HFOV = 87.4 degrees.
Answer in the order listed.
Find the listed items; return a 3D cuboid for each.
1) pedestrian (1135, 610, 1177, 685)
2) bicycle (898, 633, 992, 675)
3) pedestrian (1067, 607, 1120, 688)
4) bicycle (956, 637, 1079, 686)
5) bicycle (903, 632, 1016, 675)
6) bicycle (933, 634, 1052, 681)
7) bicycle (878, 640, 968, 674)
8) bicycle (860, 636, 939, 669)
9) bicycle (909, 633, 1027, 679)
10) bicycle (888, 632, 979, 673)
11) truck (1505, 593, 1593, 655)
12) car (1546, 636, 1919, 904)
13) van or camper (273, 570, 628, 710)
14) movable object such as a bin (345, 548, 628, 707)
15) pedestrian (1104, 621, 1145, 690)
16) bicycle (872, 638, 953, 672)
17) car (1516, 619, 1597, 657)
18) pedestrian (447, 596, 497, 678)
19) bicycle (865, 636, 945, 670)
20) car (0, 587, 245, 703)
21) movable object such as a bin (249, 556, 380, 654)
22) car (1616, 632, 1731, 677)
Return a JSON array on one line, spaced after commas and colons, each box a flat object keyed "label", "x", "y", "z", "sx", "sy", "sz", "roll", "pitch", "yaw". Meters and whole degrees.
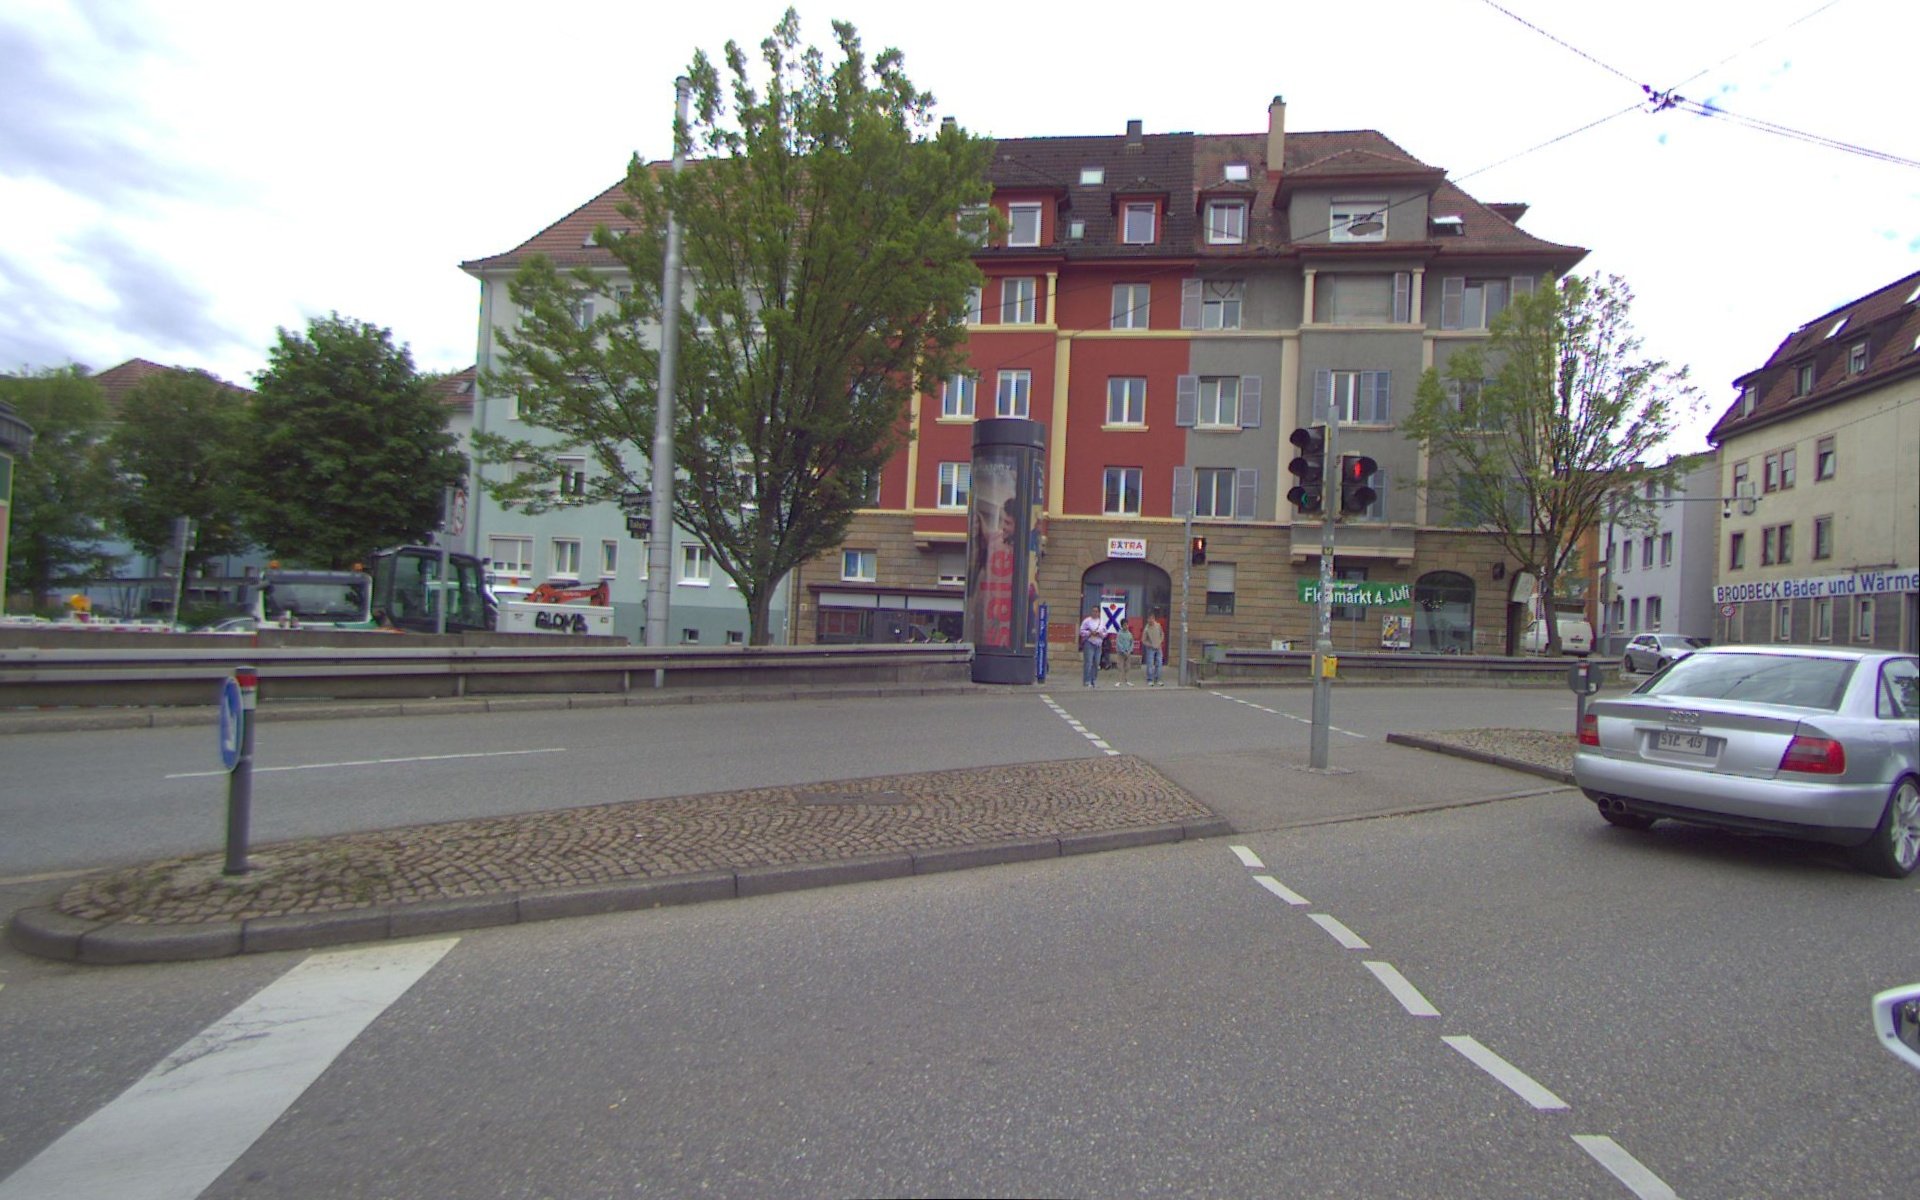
[{"label": "pedestrian", "x": 3.977, "y": 0.957, "z": 20.383, "sx": 0.643, "sy": 1.507, "sz": 0.521, "roll": 1, "pitch": 0, "yaw": -20}, {"label": "bicycle", "x": -0.438, "y": 1.667, "z": 30.799, "sx": 2.798, "sy": 1.218, "sz": 0.813, "roll": 2, "pitch": 0, "yaw": -27}, {"label": "pedestrian", "x": 2.652, "y": 0.932, "z": 20.026, "sx": 0.727, "sy": 1.567, "sz": 0.791, "roll": 1, "pitch": 0, "yaw": -20}, {"label": "bicycle", "x": 1.556, "y": 1.641, "z": 26.859, "sx": 3.316, "sy": 1.218, "sz": 0.813, "roll": 2, "pitch": 0, "yaw": -27}, {"label": "bicycle", "x": 0.004, "y": 1.589, "z": 29.890, "sx": 3.316, "sy": 1.218, "sz": 0.899, "roll": 2, "pitch": 0, "yaw": -27}, {"label": "bicycle", "x": 0.937, "y": 1.605, "z": 28.014, "sx": 3.316, "sy": 1.218, "sz": 0.813, "roll": 2, "pitch": 0, "yaw": -27}, {"label": "bicycle", "x": -1.179, "y": 1.843, "z": 32.352, "sx": 2.798, "sy": 1.034, "sz": 0.813, "roll": 2, "pitch": 0, "yaw": -27}, {"label": "bicycle", "x": -2.059, "y": 1.784, "z": 34.182, "sx": 2.627, "sy": 1.084, "sz": 0.630, "roll": 2, "pitch": 0, "yaw": -27}, {"label": "bicycle", "x": 0.250, "y": 1.607, "z": 28.791, "sx": 3.316, "sy": 1.218, "sz": 0.899, "roll": 2, "pitch": 0, "yaw": -27}, {"label": "bicycle", "x": -0.822, "y": 1.655, "z": 31.586, "sx": 2.798, "sy": 1.218, "sz": 0.813, "roll": 2, "pitch": 0, "yaw": -27}, {"label": "truck", "x": 35.208, "y": 1.365, "z": 60.302, "sx": 2.644, "sy": 3.399, "sz": 5.442, "roll": 3, "pitch": 0, "yaw": 9}, {"label": "car", "x": 6.246, "y": 1.011, "z": 7.242, "sx": 4.078, "sy": 1.383, "sz": 1.621, "roll": 1, "pitch": 1, "yaw": -29}, {"label": "van or camper", "x": -9.950, "y": 0.703, "z": 19.825, "sx": 5.884, "sy": 2.369, "sz": 2.690, "roll": 2, "pitch": 0, "yaw": 14}, {"label": "movable object such as a bin", "x": -6.808, "y": 0.380, "z": 14.749, "sx": 1.357, "sy": 2.040, "sz": 3.524, "roll": 1, "pitch": -1, "yaw": 36}, {"label": "pedestrian", "x": 3.313, "y": 1.105, "z": 20.265, "sx": 0.575, "sy": 1.356, "sz": 0.573, "roll": 1, "pitch": 0, "yaw": -20}, {"label": "bicycle", "x": -1.541, "y": 1.808, "z": 32.993, "sx": 2.628, "sy": 1.084, "sz": 0.630, "roll": 2, "pitch": 0, "yaw": -27}, {"label": "car", "x": 31.517, "y": 1.953, "z": 53.229, "sx": 2.023, "sy": 1.823, "sz": 4.338, "roll": 1, "pitch": 0, "yaw": 5}, {"label": "pedestrian", "x": -8.409, "y": 0.632, "z": 17.330, "sx": 0.614, "sy": 1.382, "sz": 0.600, "roll": 1, "pitch": 0, "yaw": -11}, {"label": "bicycle", "x": -1.816, "y": 1.781, "z": 33.579, "sx": 2.627, "sy": 1.084, "sz": 0.630, "roll": 2, "pitch": 0, "yaw": -27}, {"label": "car", "x": -13.889, "y": 0.616, "z": 15.866, "sx": 1.959, "sy": 1.572, "sz": 4.002, "roll": 2, "pitch": 0, "yaw": 9}, {"label": "movable object such as a bin", "x": -15.713, "y": 0.107, "z": 24.660, "sx": 2.369, "sy": 2.099, "sz": 6.199, "roll": 2, "pitch": 0, "yaw": -31}, {"label": "car", "x": 26.443, "y": 1.983, "z": 37.389, "sx": 1.842, "sy": 1.489, "sz": 3.978, "roll": 2, "pitch": -1, "yaw": 8}]
